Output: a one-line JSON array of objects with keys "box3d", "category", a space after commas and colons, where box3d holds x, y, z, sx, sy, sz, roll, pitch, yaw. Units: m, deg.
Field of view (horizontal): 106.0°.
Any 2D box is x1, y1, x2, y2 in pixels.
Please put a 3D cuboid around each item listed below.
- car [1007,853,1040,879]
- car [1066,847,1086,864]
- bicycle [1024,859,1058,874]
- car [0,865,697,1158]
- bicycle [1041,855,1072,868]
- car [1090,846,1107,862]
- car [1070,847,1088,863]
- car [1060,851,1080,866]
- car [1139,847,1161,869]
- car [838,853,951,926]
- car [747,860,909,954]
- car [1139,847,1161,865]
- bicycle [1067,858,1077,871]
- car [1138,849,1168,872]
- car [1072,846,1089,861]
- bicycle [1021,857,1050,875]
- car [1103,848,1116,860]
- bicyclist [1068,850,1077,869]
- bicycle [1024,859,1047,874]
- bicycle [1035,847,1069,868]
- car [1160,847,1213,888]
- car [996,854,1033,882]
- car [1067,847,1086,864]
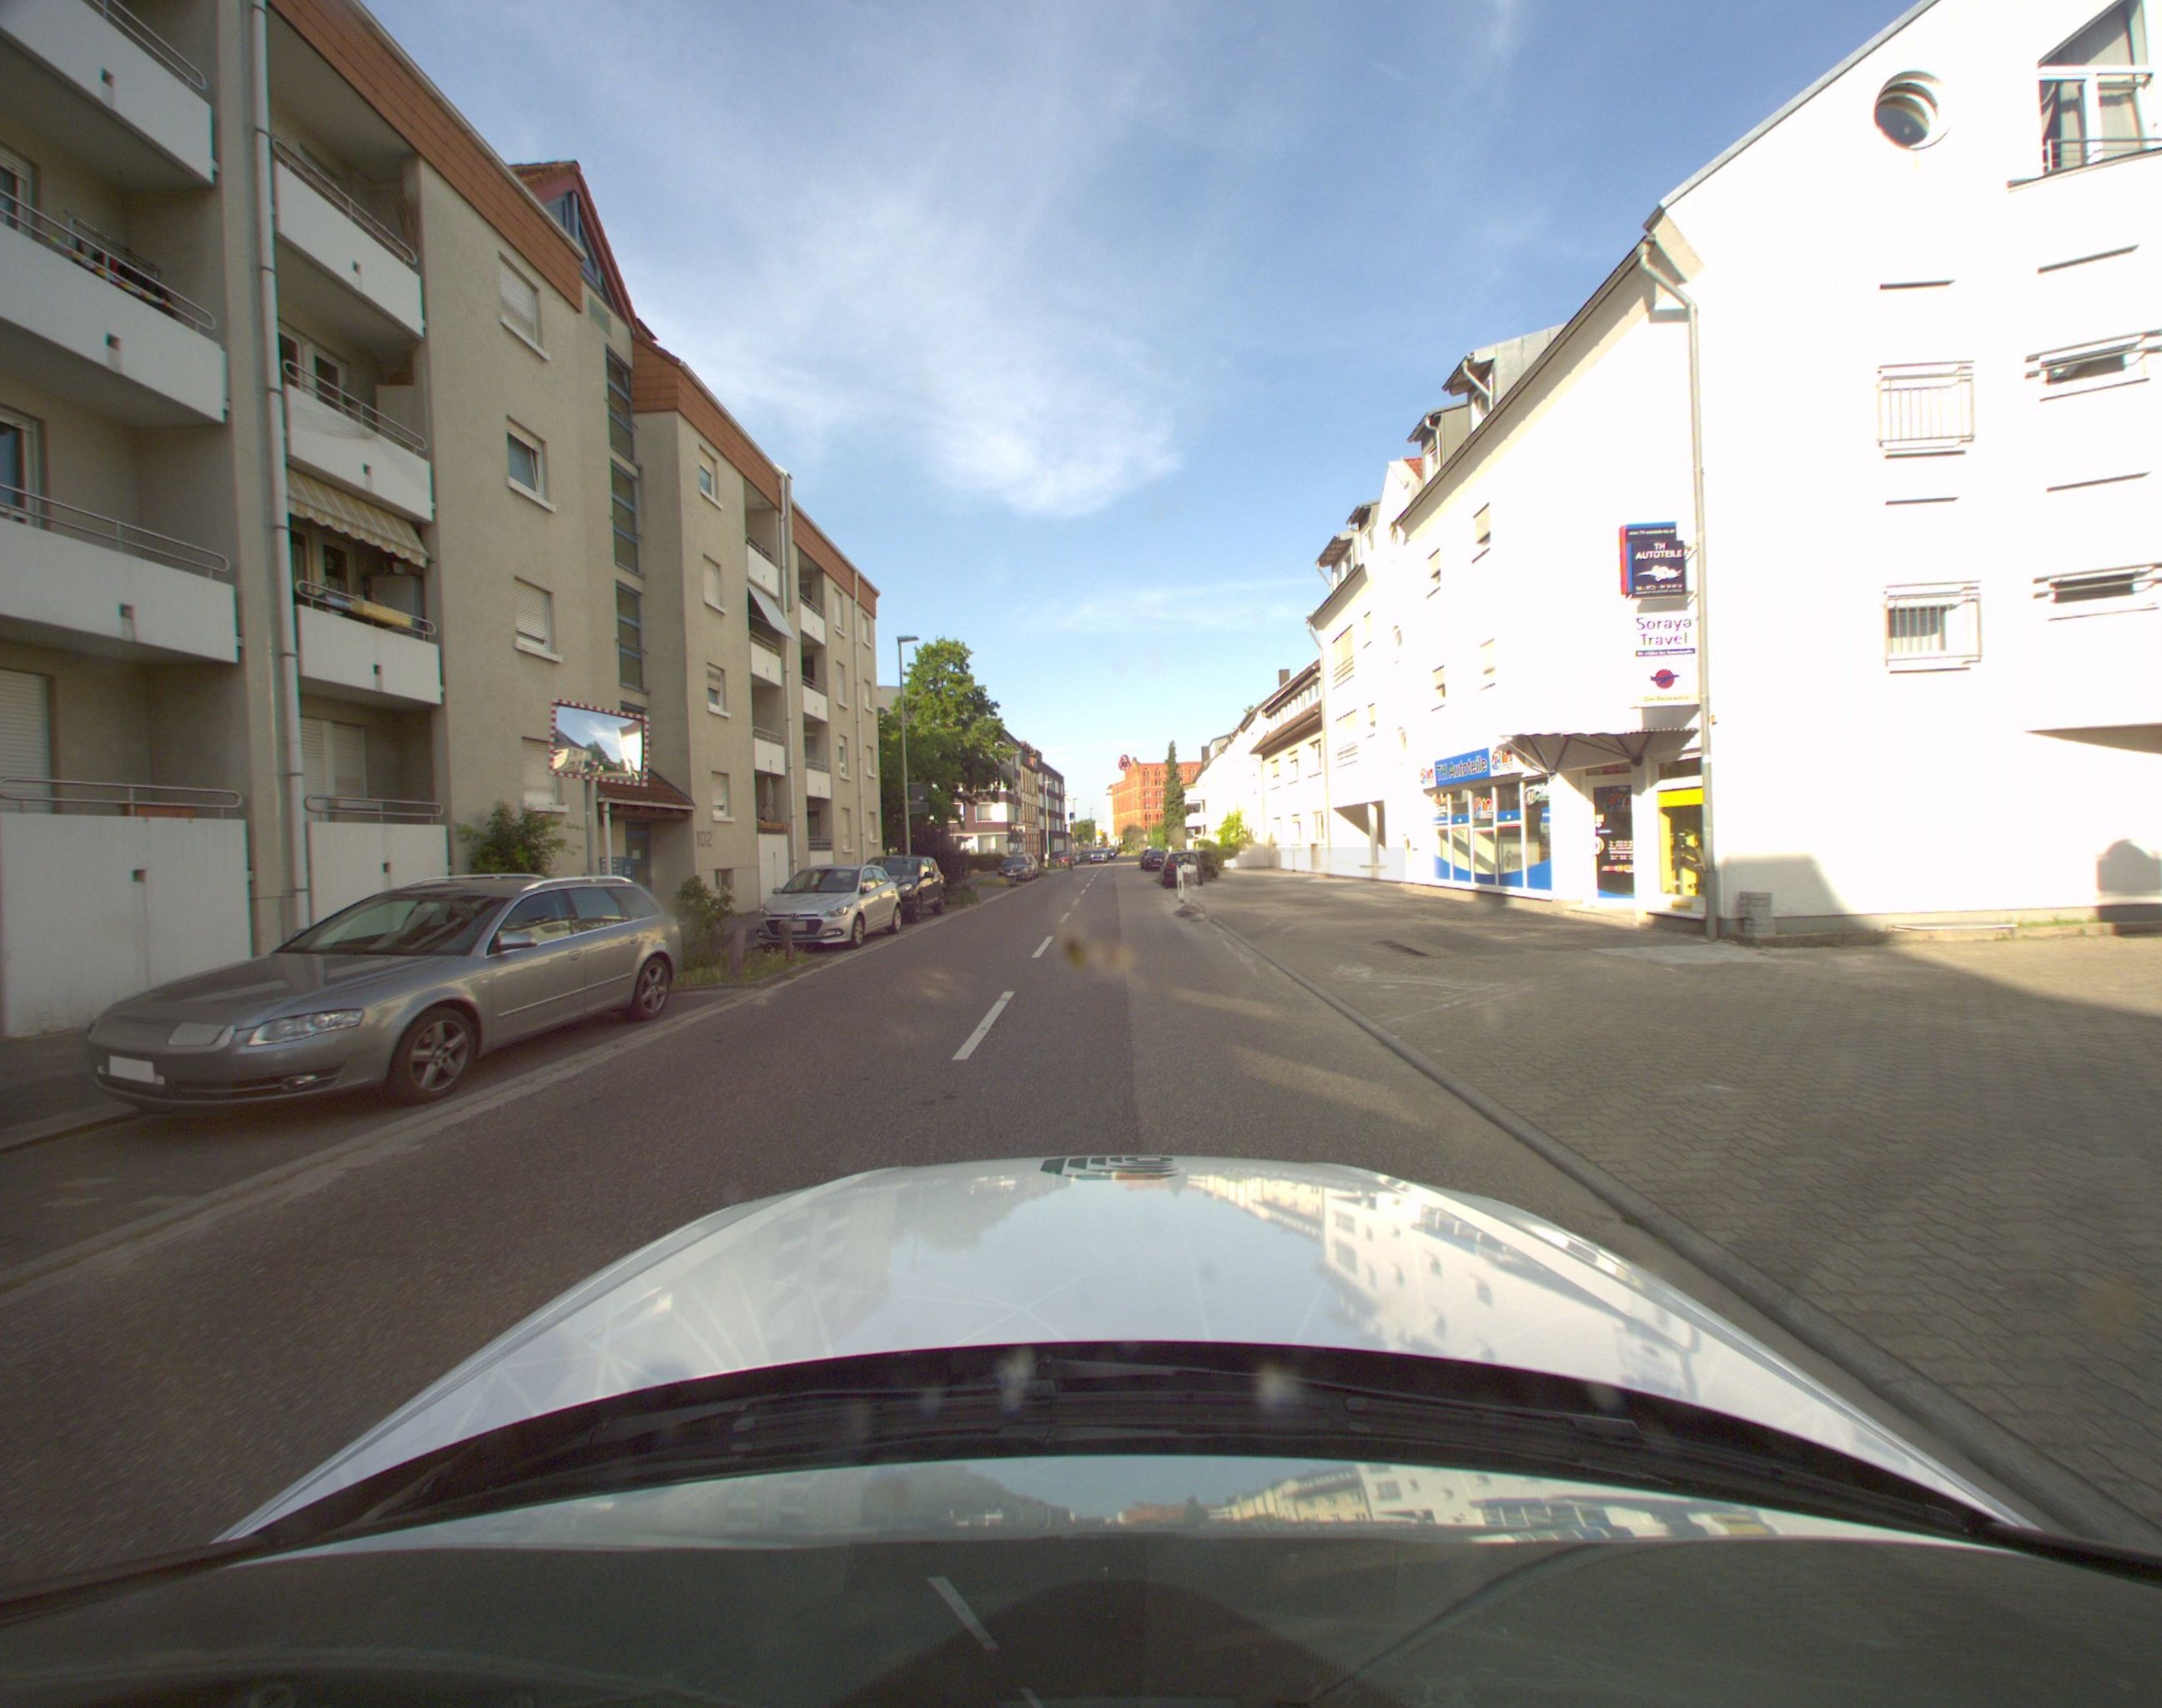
[{"box3d": [-3.564, 0.719, 51.013, 1.670, 1.501, 4.001, -2, 0, 1], "category": "car"}, {"box3d": [-0.588, 0.164, 94.405, 1.985, 1.835, 3.692, -2, 0, 3], "category": "car"}, {"box3d": [-2.839, 0.905, 57.989, 2.335, 0.970, 0.707, -2, 0, -3], "category": "bicycle"}, {"box3d": [-5.171, 0.916, 6.763, 1.801, 1.521, 4.371, -1, 0, 1], "category": "car"}, {"box3d": [-2.282, 0.699, 75.722, 2.761, 1.144, 1.144, -2, 0, 3], "category": "bicycle"}, {"box3d": [1.940, 0.007, 89.768, 1.757, 1.616, 4.002, -3, 0, 2], "category": "car"}, {"box3d": [-0.237, 0.111, 103.599, 1.985, 1.907, 4.004, -2, 0, 3], "category": "car"}, {"box3d": [-1.111, 0.467, 83.437, 1.833, 1.464, 3.587, -2, 0, 3], "category": "car"}, {"box3d": [5.350, 0.298, 63.505, 1.595, 1.646, 3.687, -1, 0, 2], "category": "car"}, {"box3d": [-4.591, 0.812, 20.675, 1.679, 1.603, 4.372, -1, 0, 2], "category": "car"}, {"box3d": [-4.607, 0.892, 15.509, 1.680, 1.454, 4.142, -1, 0, 1], "category": "car"}, {"box3d": [6.363, 0.175, 75.536, 1.757, 1.526, 4.002, -3, 0, 2], "category": "car"}, {"box3d": [-0.690, 0.814, 65.032, 0.606, 0.942, 1.813, -2, 0, 4], "category": "bicycle"}, {"box3d": [5.097, 0.454, 58.263, 1.852, 1.472, 4.002, -2, 0, 2], "category": "car"}, {"box3d": [-0.051, -0.096, 109.979, 1.985, 1.881, 4.003, -2, 0, 3], "category": "car"}, {"box3d": [-3.212, 0.837, 57.124, 1.996, 1.217, 0.707, -2, 0, -4], "category": "bicycle"}, {"box3d": [4.096, -0.011, 118.122, 1.757, 1.616, 4.002, -3, 0, 2], "category": "car"}, {"box3d": [-0.694, 0.440, 65.096, 0.588, 1.442, 0.751, -2, 0, 3], "category": "bicyclist"}, {"box3d": [-3.279, 0.877, 58.718, 1.581, 1.041, 0.707, -2, 0, -3], "category": "bicycle"}, {"box3d": [-2.659, 0.350, 73.964, 2.905, 1.777, 1.203, -2, 0, 3], "category": "bicycle"}, {"box3d": [4.289, 0.514, 33.584, 1.822, 1.482, 3.946, -3, 0, 3], "category": "car"}, {"box3d": [-3.668, 0.747, 45.330, 1.567, 1.420, 3.805, -1, 0, 2], "category": "car"}, {"box3d": [-0.505, 0.156, 99.526, 1.985, 1.911, 3.692, -2, 0, 3], "category": "car"}]
